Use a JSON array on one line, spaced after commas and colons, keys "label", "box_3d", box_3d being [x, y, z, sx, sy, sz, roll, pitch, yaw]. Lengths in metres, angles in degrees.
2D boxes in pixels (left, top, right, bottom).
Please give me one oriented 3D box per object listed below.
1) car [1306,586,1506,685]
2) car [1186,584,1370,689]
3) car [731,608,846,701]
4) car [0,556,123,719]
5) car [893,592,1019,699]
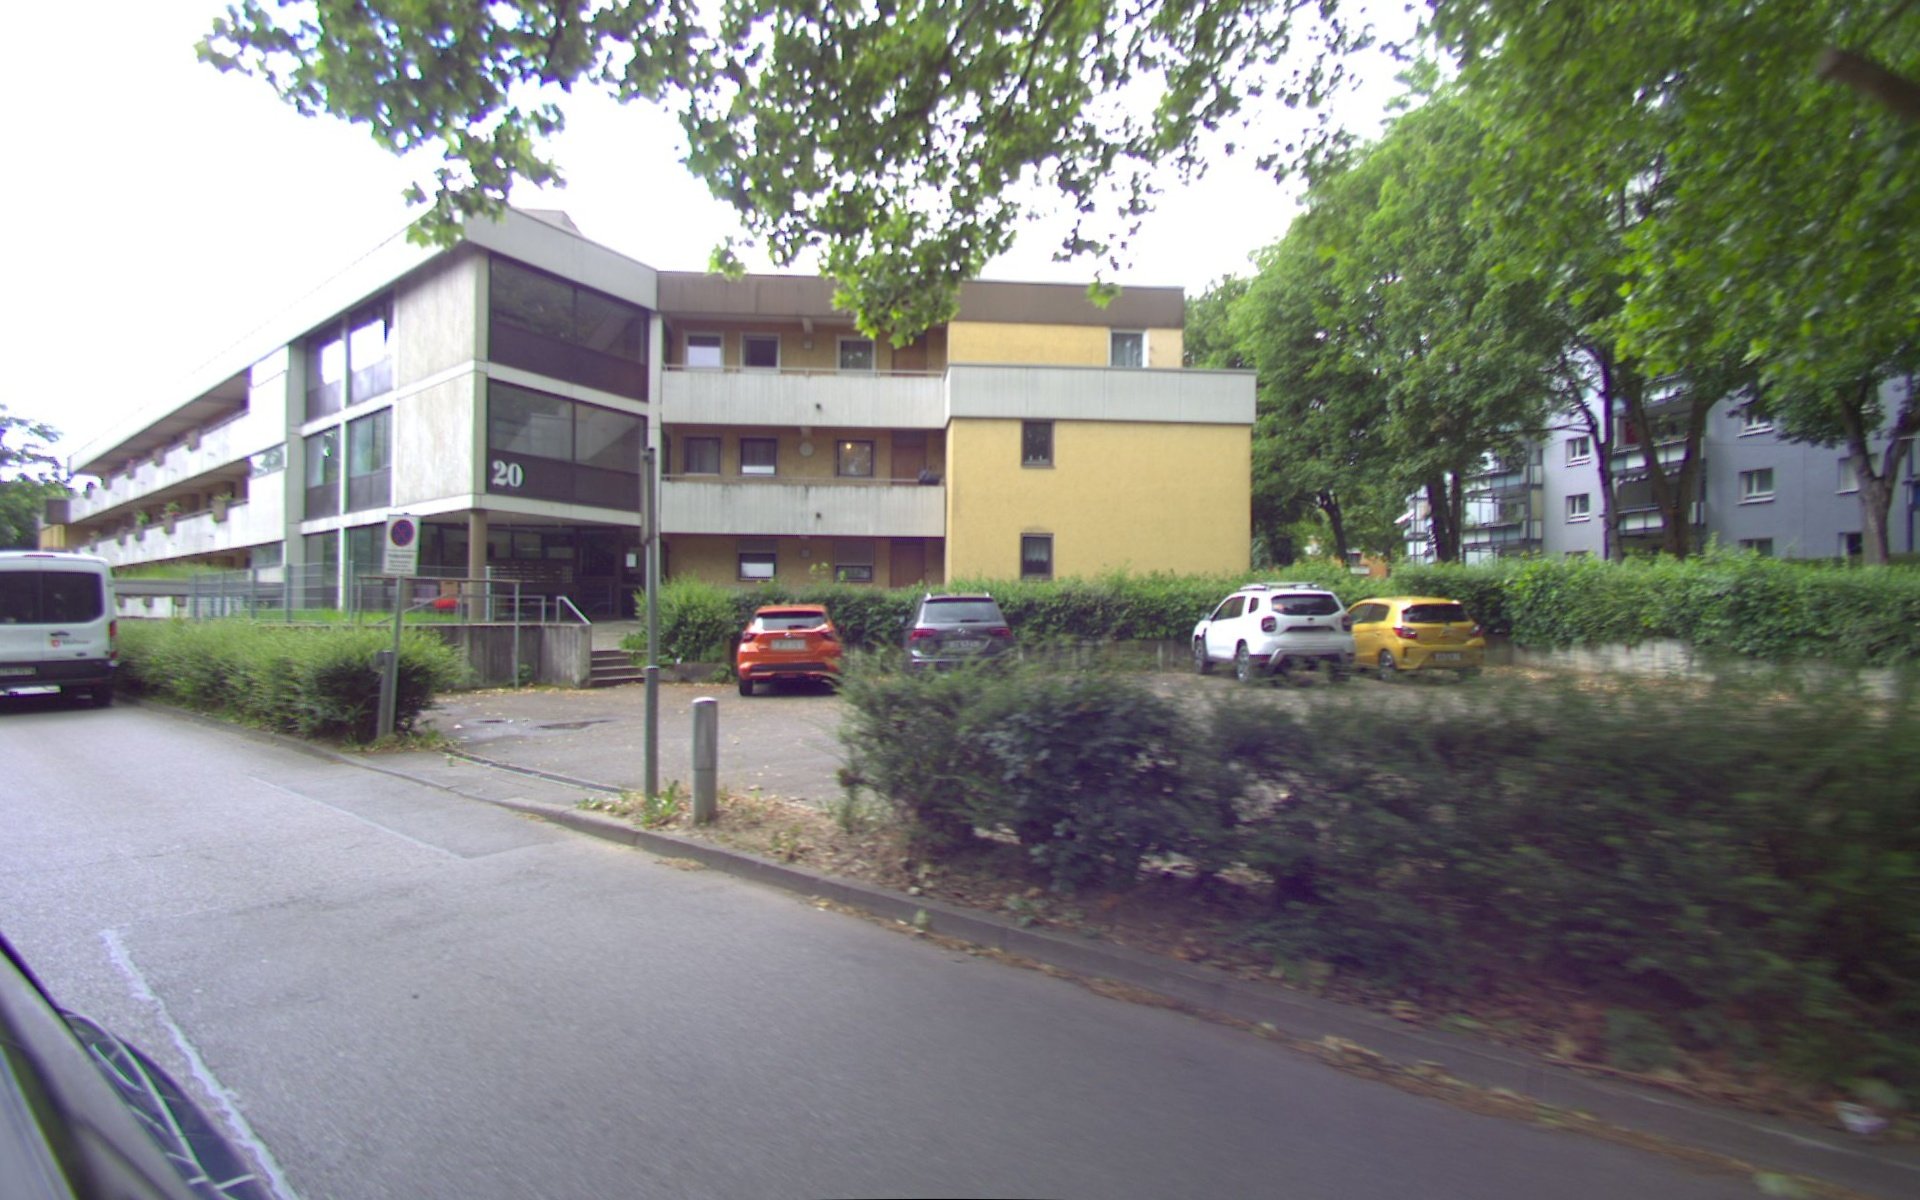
[{"label": "car", "box_3d": [8.063, 0.602, 18.750, 1.723, 1.623, 4.003, 0, 0, -3]}, {"label": "car", "box_3d": [5.518, 0.592, 18.145, 1.780, 1.661, 4.119, 0, 0, -3]}, {"label": "car", "box_3d": [-2.927, 0.870, 17.971, 1.723, 1.441, 4.005, 0, 0, -5]}, {"label": "car", "box_3d": [-16.646, 0.635, 17.880, 6.277, 2.494, 2.109, -2, -1, 44]}, {"label": "car", "box_3d": [-0.186, 0.712, 17.491, 1.797, 1.623, 4.005, 0, 0, -5]}]
